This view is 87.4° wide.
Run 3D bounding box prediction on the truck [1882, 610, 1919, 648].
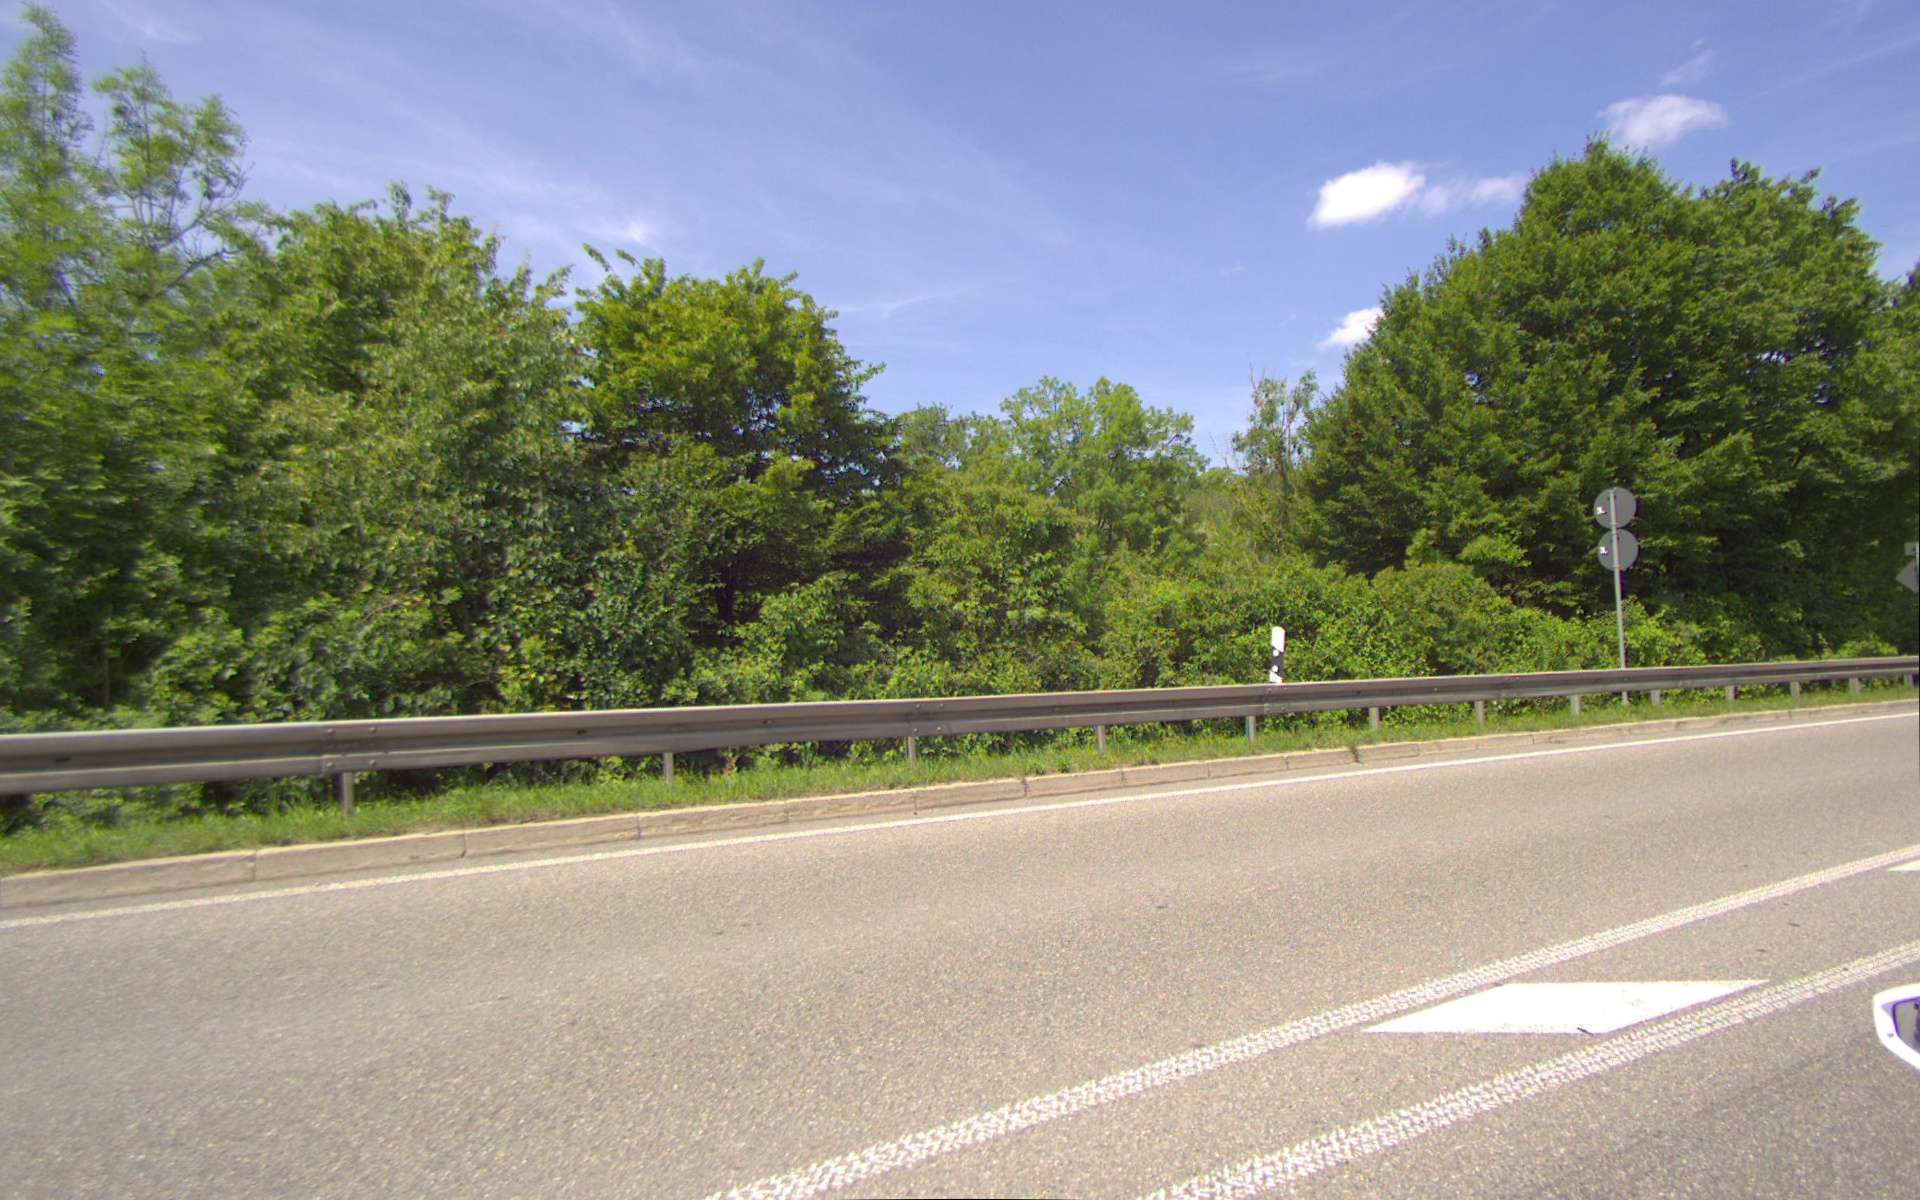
[{"bbox_3d":[48.775,1.497,49.304,2.023,1.815,4.843,2,0,-35],"label":"truck"}]
